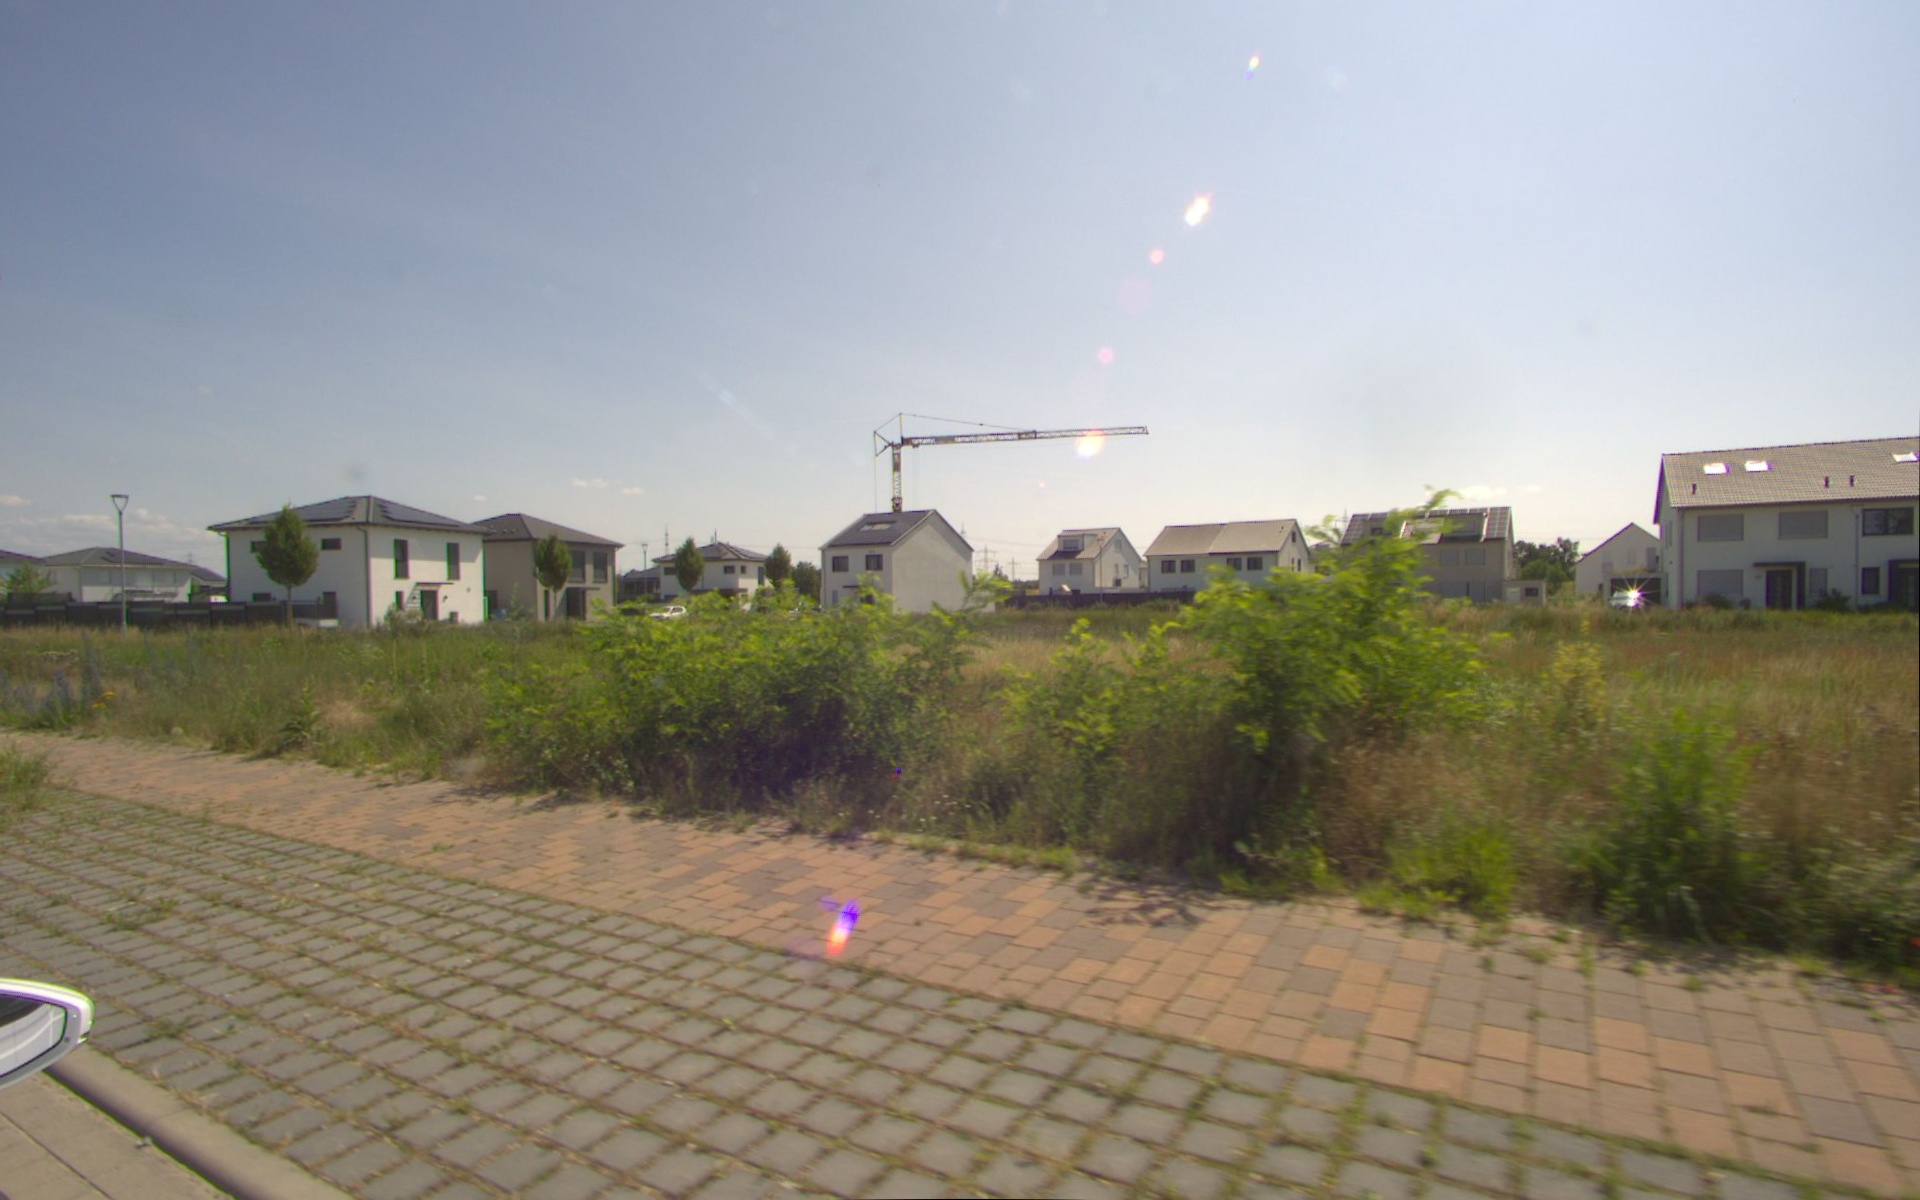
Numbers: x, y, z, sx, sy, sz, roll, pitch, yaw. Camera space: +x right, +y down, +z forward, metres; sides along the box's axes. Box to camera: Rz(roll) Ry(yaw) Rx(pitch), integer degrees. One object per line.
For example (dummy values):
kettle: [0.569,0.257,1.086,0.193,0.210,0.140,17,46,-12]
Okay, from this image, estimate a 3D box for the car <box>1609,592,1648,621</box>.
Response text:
car: [38.906,0.371,58.240,1.791,1.595,3.974,0,0,35]

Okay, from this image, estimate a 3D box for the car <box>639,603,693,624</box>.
car: [-20.898,0.939,71.341,1.719,1.416,3.993,-1,0,18]

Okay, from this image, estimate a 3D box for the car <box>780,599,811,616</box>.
car: [-17.891,0.769,108.938,1.794,1.776,4.236,0,0,14]
